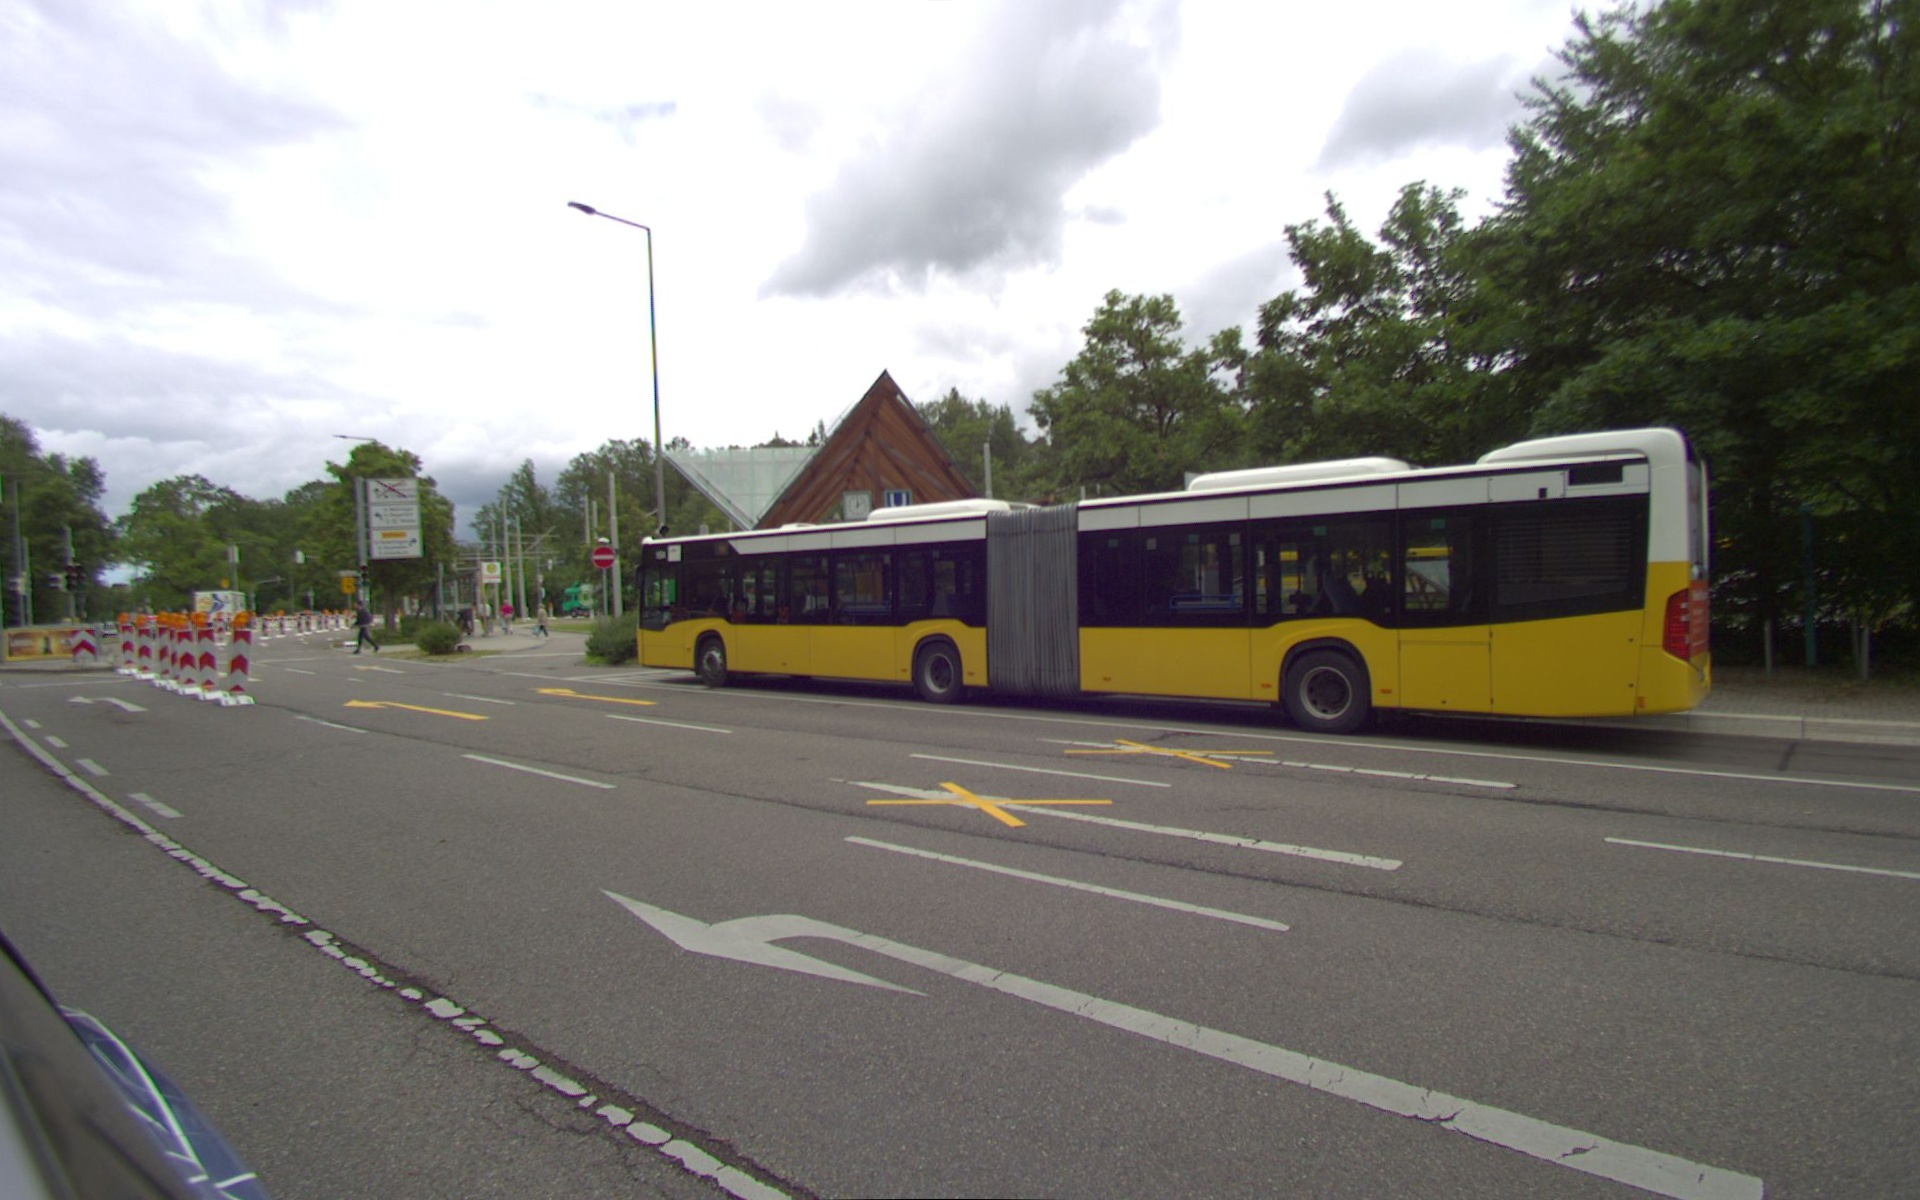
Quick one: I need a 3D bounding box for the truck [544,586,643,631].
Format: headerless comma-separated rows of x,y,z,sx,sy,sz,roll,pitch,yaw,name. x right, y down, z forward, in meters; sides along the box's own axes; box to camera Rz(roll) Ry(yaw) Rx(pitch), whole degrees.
-36.210,0.878,99.982,8.707,3.910,3.763,-3,1,21,truck

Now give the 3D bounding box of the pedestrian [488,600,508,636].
-22.277,0.880,48.799,0.674,1.678,0.873,-3,1,-35,pedestrian

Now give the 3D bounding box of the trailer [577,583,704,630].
-30.981,0.618,98.027,11.781,3.910,3.763,-3,1,21,trailer

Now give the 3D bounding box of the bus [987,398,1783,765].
4.603,-0.102,12.639,8.690,3.150,2.869,-1,0,41,bus

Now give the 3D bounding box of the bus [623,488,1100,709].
-2.329,0.049,18.735,9.754,3.150,2.869,-1,0,41,bus

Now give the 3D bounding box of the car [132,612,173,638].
-49.679,1.524,62.318,1.784,1.520,4.318,0,0,-36,car

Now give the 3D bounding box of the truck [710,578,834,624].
-10.313,0.058,55.478,6.262,2.186,2.587,-3,1,24,truck

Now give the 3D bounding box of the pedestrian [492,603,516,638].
-21.353,0.949,47.365,0.779,1.563,0.777,-4,1,-38,pedestrian

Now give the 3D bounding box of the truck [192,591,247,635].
-57.408,0.989,78.592,2.592,3.263,6.226,0,-1,-28,truck

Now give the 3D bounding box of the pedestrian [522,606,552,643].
-18.386,1.055,43.982,0.867,1.536,0.765,-3,1,13,pedestrian

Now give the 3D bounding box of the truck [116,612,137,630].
-163.343,4.117,198.357,2.704,3.235,6.687,-4,1,-38,truck

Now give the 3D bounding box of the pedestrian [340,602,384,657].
-20.721,1.022,35.066,0.981,1.822,0.766,-3,1,-1,pedestrian

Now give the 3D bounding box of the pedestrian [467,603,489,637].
-22.988,0.953,48.290,0.764,1.557,0.630,-4,2,-36,pedestrian
